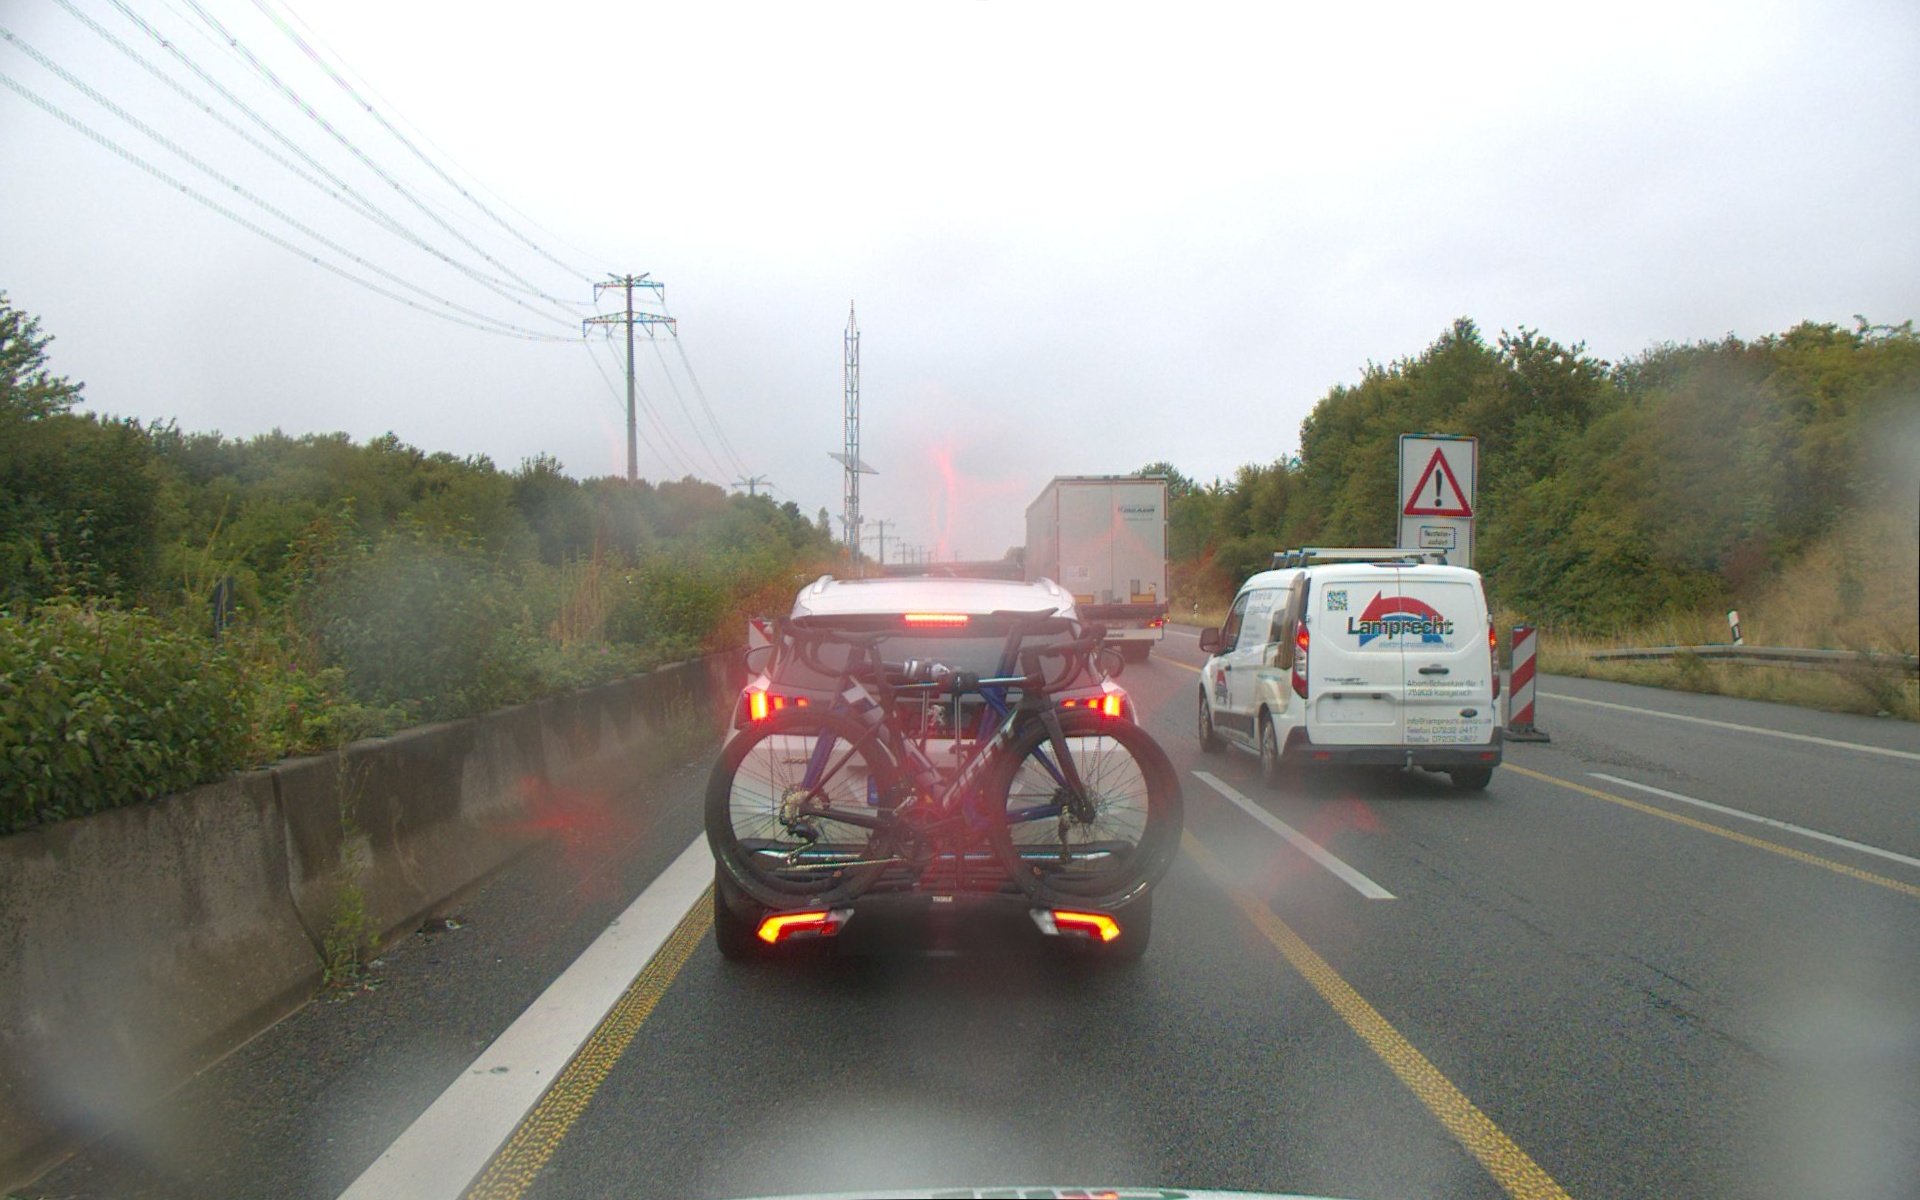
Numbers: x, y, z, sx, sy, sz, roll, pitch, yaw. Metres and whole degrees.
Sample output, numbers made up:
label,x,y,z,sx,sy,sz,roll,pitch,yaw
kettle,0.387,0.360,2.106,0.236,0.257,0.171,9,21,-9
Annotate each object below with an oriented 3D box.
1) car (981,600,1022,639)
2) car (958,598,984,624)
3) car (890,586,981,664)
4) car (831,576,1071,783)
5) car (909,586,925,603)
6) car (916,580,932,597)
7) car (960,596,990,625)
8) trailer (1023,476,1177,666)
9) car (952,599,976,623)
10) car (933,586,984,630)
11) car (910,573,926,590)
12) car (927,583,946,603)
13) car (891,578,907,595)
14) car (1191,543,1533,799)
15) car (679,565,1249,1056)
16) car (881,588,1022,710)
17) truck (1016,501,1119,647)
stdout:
label,x,y,z,sx,sy,sz,roll,pitch,yaw
car,2.281,1.067,91.609,2.067,2.008,4.000,0,1,-1
car,0.893,0.903,135.694,2.104,2.008,4.000,0,1,-1
car,-0.526,0.488,35.045,1.812,1.557,3.999,0,0,-1
car,-0.097,0.593,14.522,1.812,1.557,3.999,0,0,-1
car,-5.147,-0.694,198.148,1.892,2.008,4.000,0,1,-1
car,-4.160,-1.327,191.220,1.892,1.944,4.000,0,1,-1
car,1.106,0.777,120.925,2.104,2.008,4.000,0,1,-1
trailer,3.335,-0.665,43.075,2.638,4.148,13.631,0,0,-1
car,0.364,0.953,149.528,2.104,2.008,4.000,0,1,-1
car,-0.080,0.268,61.181,1.812,1.557,3.999,0,0,-1
car,-5.163,-2.266,203.862,1.892,2.008,4.000,0,1,-1
car,-2.408,-0.763,171.277,1.892,2.008,4.000,0,1,-1
car,-8.746,-1.945,237.675,2.212,2.467,4.000,0,1,-1
car,3.272,0.511,14.442,1.792,1.871,4.654,0,0,-1
car,-0.019,0.662,7.662,1.812,1.557,4.768,0,0,-1
car,-0.136,0.622,23.300,1.812,1.557,3.999,0,0,-1
truck,3.174,-0.757,50.523,2.606,4.148,6.538,0,0,-1
